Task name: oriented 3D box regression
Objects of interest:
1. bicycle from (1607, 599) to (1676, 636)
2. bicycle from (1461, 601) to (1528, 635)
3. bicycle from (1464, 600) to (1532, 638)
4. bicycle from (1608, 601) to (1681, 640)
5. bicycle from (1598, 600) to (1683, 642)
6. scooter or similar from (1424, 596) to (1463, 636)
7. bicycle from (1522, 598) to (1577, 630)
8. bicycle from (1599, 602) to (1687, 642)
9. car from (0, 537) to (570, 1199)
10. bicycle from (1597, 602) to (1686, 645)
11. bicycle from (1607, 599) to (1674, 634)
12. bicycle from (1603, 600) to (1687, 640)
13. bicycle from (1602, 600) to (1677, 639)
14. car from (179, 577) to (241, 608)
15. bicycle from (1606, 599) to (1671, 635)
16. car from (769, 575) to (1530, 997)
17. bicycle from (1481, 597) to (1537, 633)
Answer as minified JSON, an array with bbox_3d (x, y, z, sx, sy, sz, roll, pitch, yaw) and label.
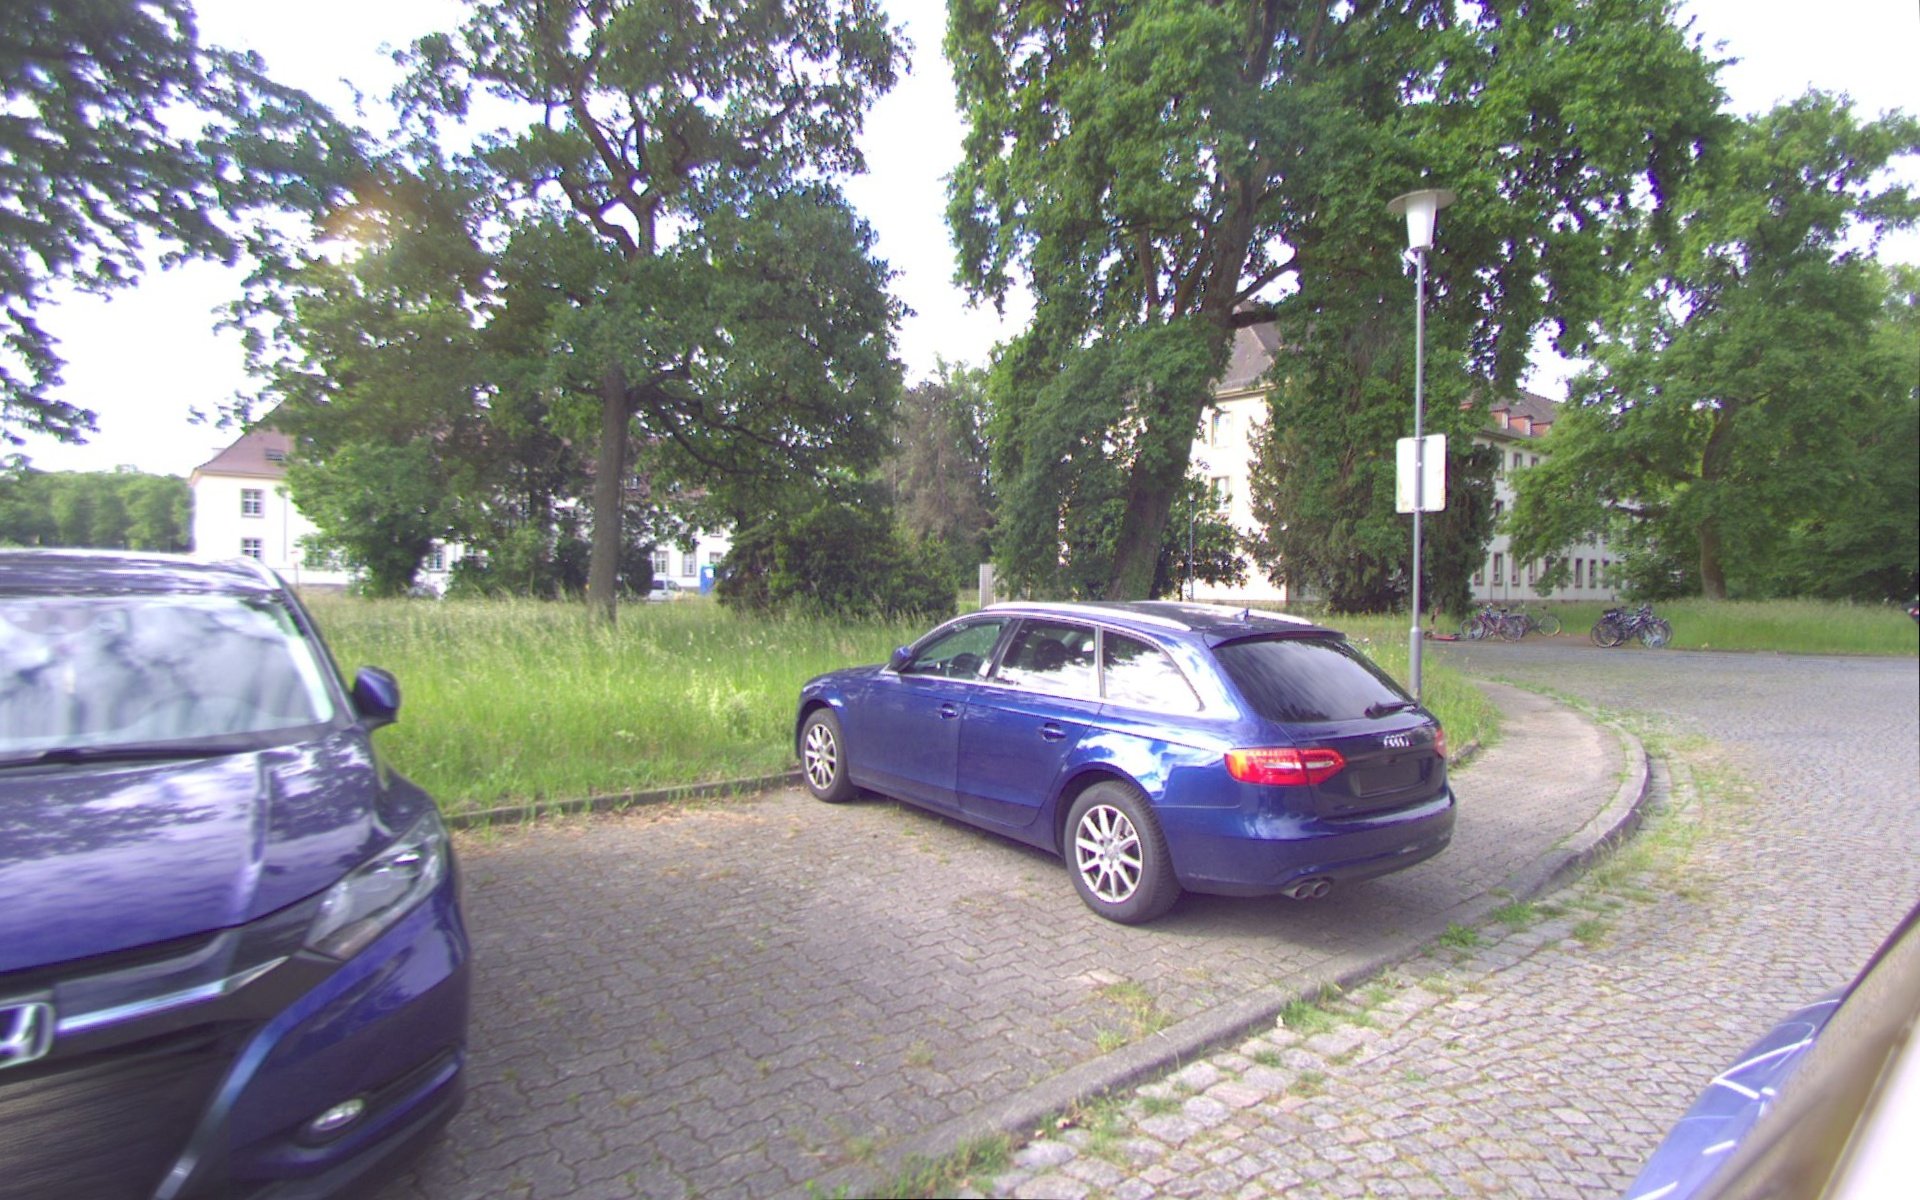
[{"bbox_3d":[22.106,0.565,32.881,1.792,1.101,0.548,1,3,30],"label":"bicycle"},{"bbox_3d":[16.841,0.554,31.931,1.836,1.002,0.452,1,1,24],"label":"bicycle"},{"bbox_3d":[16.677,0.588,31.397,1.793,1.101,0.475,1,3,24],"label":"bicycle"},{"bbox_3d":[20.689,0.606,30.624,1.773,1.101,0.474,1,3,30],"label":"bicycle"},{"bbox_3d":[19.795,0.598,29.501,2.000,1.101,0.474,1,3,30],"label":"bicycle"},{"bbox_3d":[15.256,0.490,31.945,0.378,1.209,1.063,0,1,-36],"label":"scooter or similar"},{"bbox_3d":[20.062,0.474,34.463,1.551,1.047,0.472,1,1,27],"label":"bicycle"},{"bbox_3d":[19.220,0.616,28.537,2.000,1.022,0.474,1,3,30],"label":"bicycle"},{"bbox_3d":[-2.934,0.609,3.301,1.861,1.593,4.274,0,2,-39],"label":"car"},{"bbox_3d":[18.926,0.649,28.151,2.000,1.101,0.474,1,3,30],"label":"bicycle"},{"bbox_3d":[22.959,0.540,34.178,1.810,1.101,0.548,1,3,30],"label":"bicycle"},{"bbox_3d":[20.235,0.576,29.954,2.000,1.101,0.474,1,3,30],"label":"bicycle"},{"bbox_3d":[21.021,0.591,31.343,1.850,1.101,0.515,1,3,30],"label":"bicycle"},{"bbox_3d":[-52.165,-0.515,70.336,5.815,2.039,2.449,0,1,43],"label":"car"},{"bbox_3d":[22.476,0.554,33.560,1.736,1.101,0.548,1,3,30],"label":"bicycle"},{"bbox_3d":[0.664,0.656,6.176,1.859,1.482,4.521,0,2,-35],"label":"car"},{"bbox_3d":[18.017,0.482,33.236,1.547,1.102,0.558,1,1,21],"label":"bicycle"}]
